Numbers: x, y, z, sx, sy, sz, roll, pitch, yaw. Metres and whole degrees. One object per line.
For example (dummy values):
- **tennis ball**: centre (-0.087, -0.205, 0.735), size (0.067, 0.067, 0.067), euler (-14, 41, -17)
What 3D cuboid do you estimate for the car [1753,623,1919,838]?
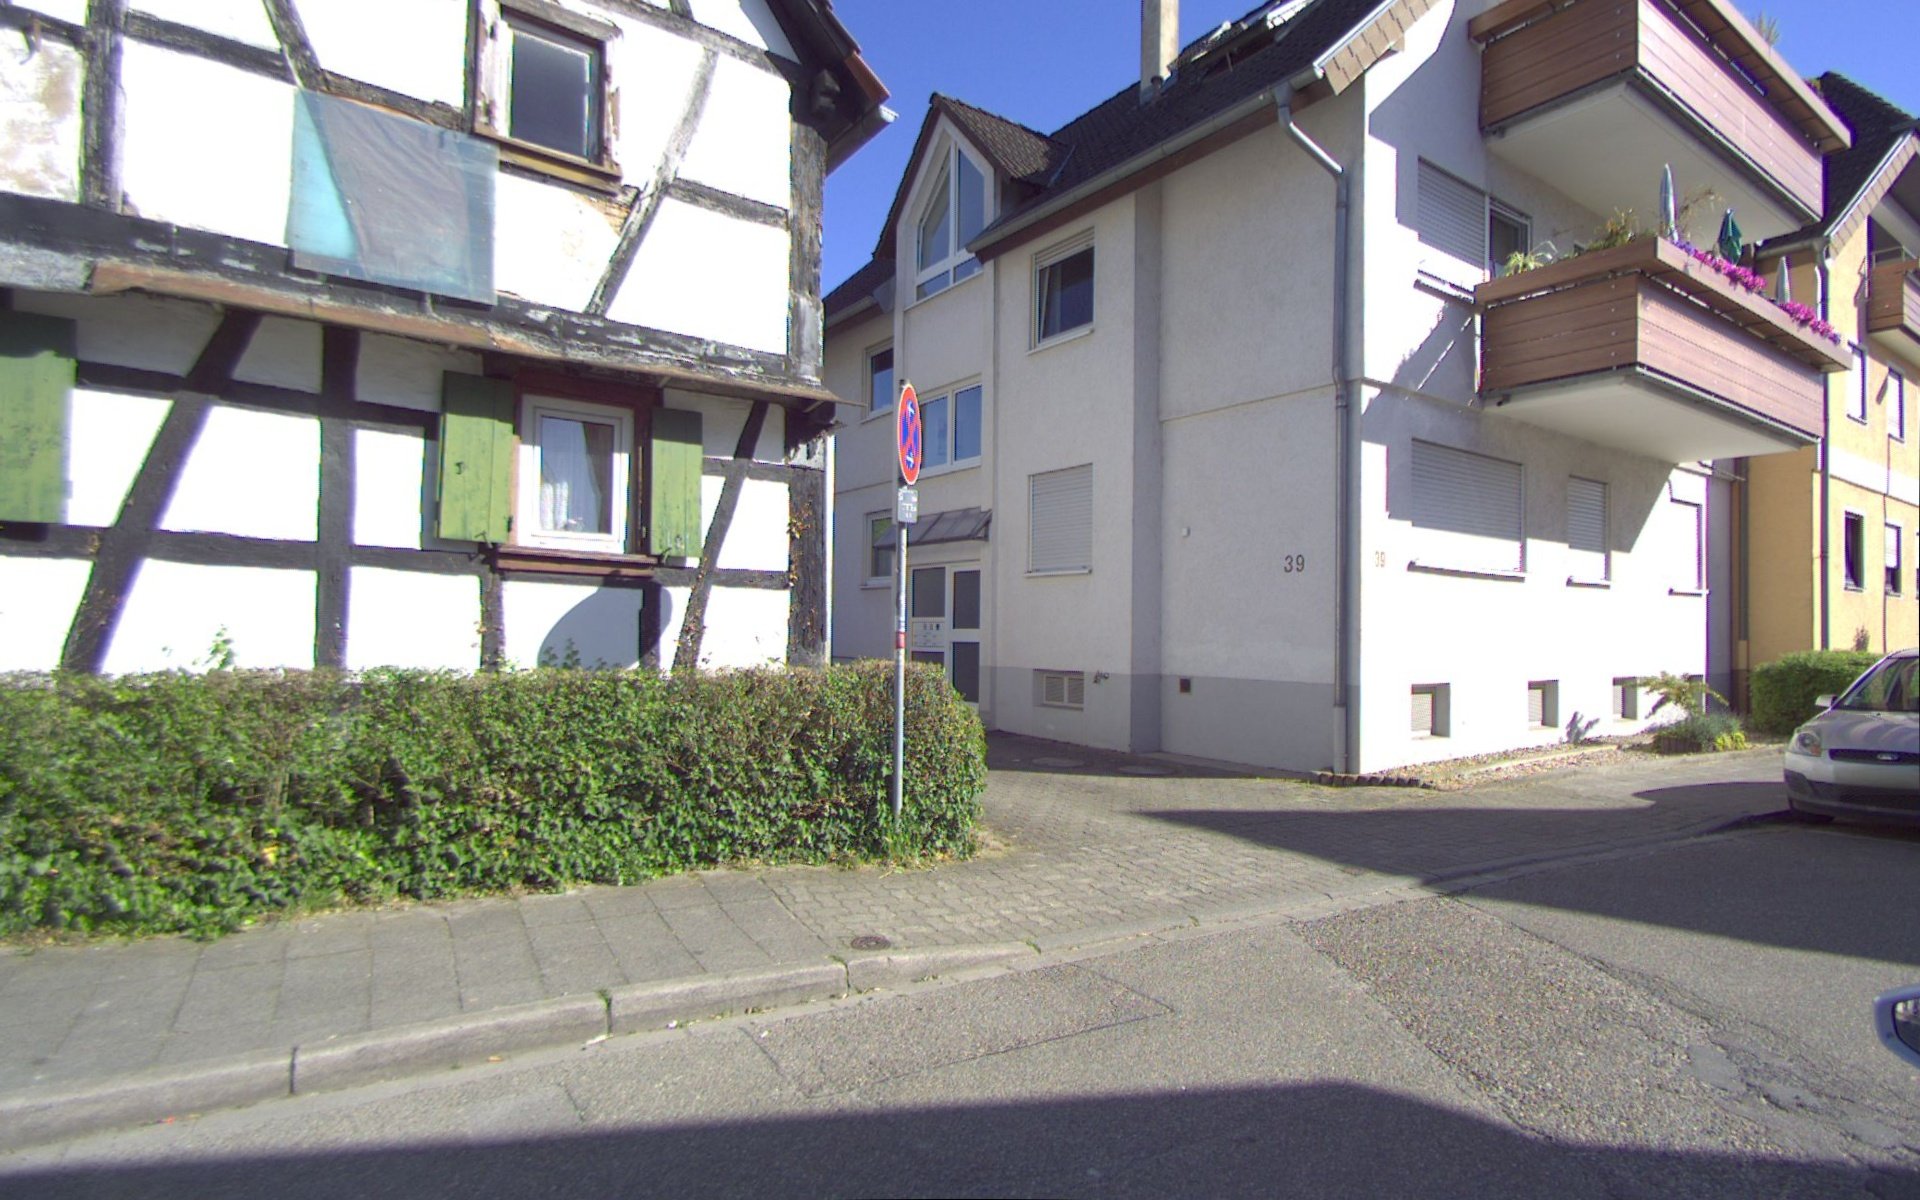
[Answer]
- **car**: centre (8.433, 0.977, 8.250), size (3.806, 1.525, 1.625), euler (1, -4, -29)
